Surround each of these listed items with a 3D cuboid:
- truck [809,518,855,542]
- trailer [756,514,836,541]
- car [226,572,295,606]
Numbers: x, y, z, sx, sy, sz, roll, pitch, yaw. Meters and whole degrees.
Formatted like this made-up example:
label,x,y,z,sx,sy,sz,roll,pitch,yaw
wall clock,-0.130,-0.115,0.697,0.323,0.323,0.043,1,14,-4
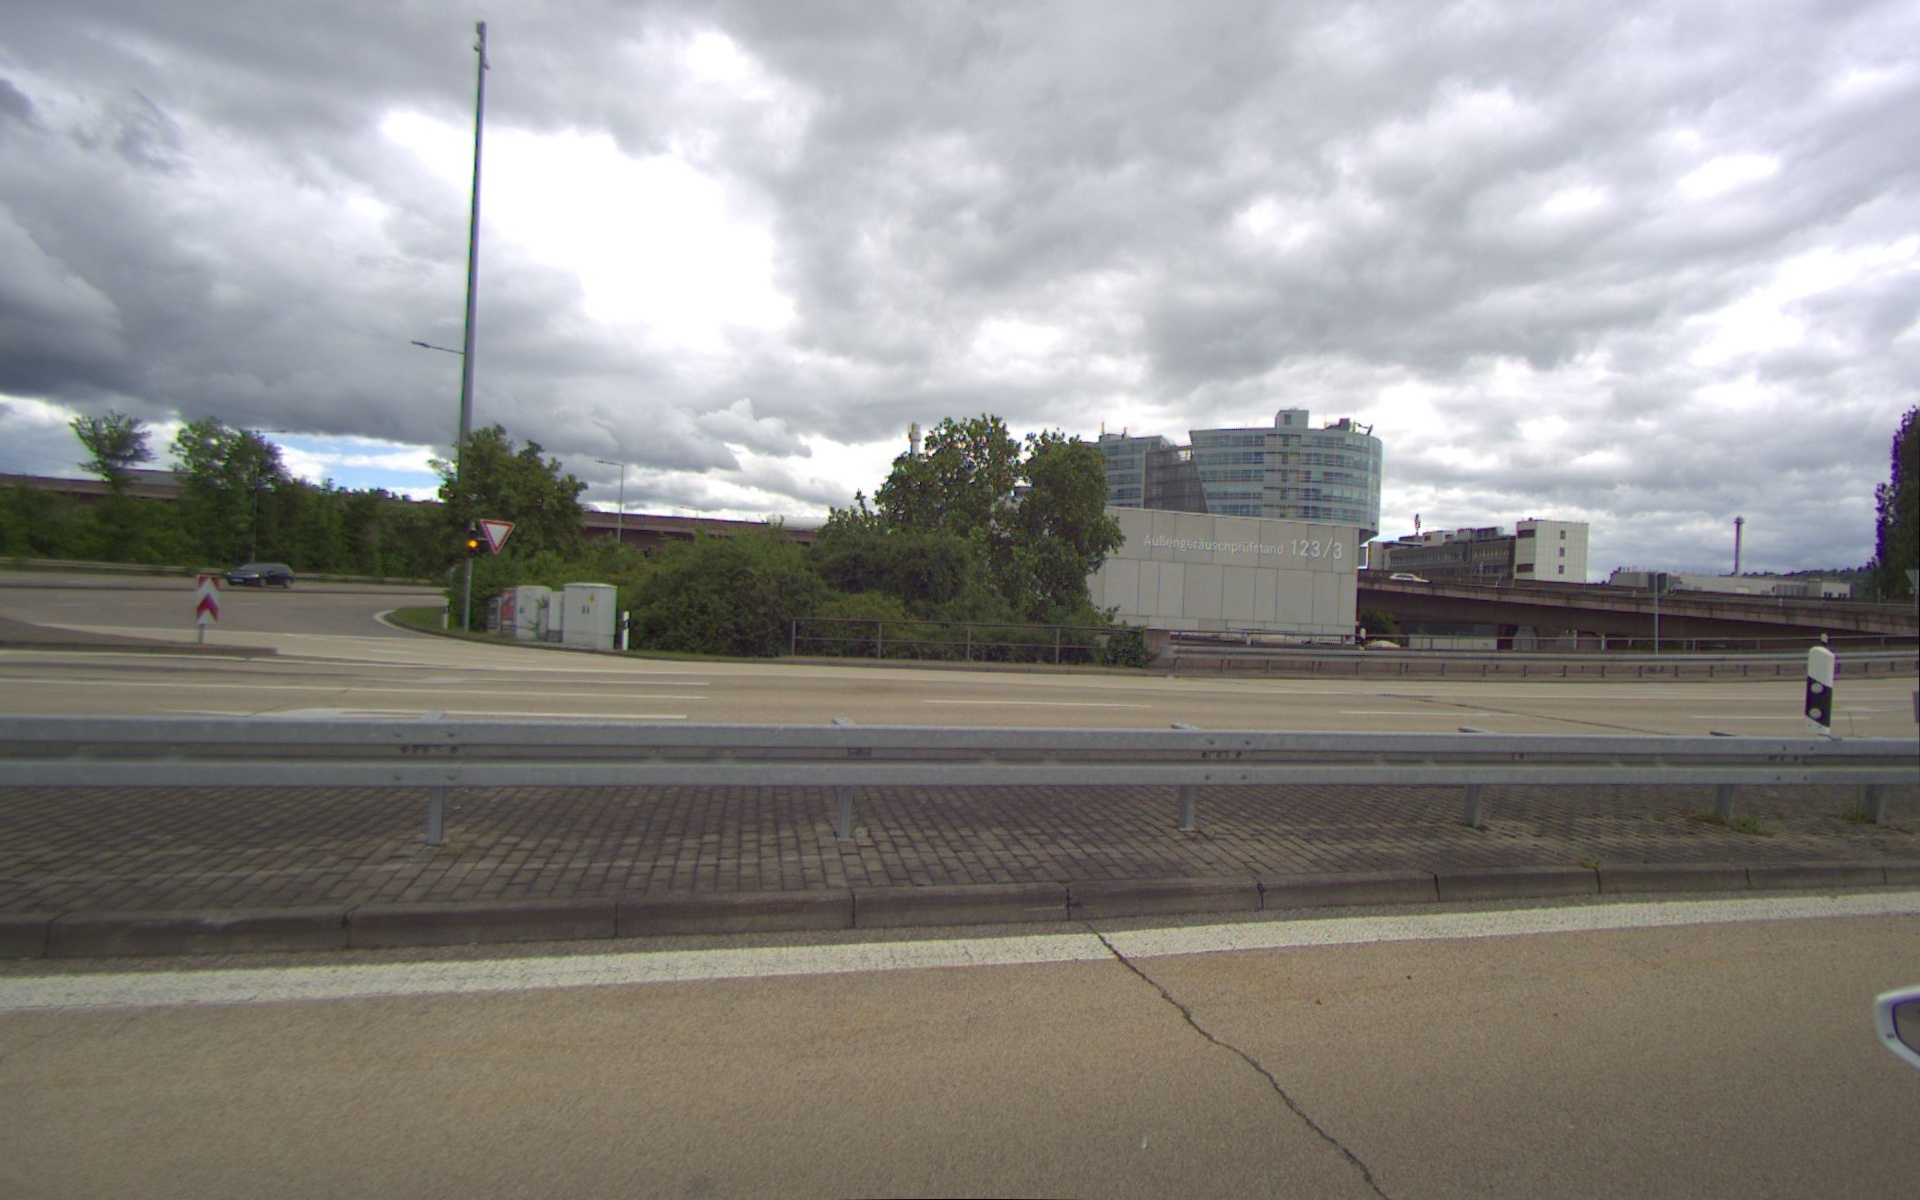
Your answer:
label,x,y,z,sx,sy,sz,roll,pitch,yaw
truck,-17.931,-9.756,140.922,5.820,2.736,2.145,6,2,9
trailer,-23.172,-10.287,141.843,10.886,3.009,2.387,4,3,9
car,-41.252,-0.677,59.342,1.600,1.683,4.117,5,2,-10
